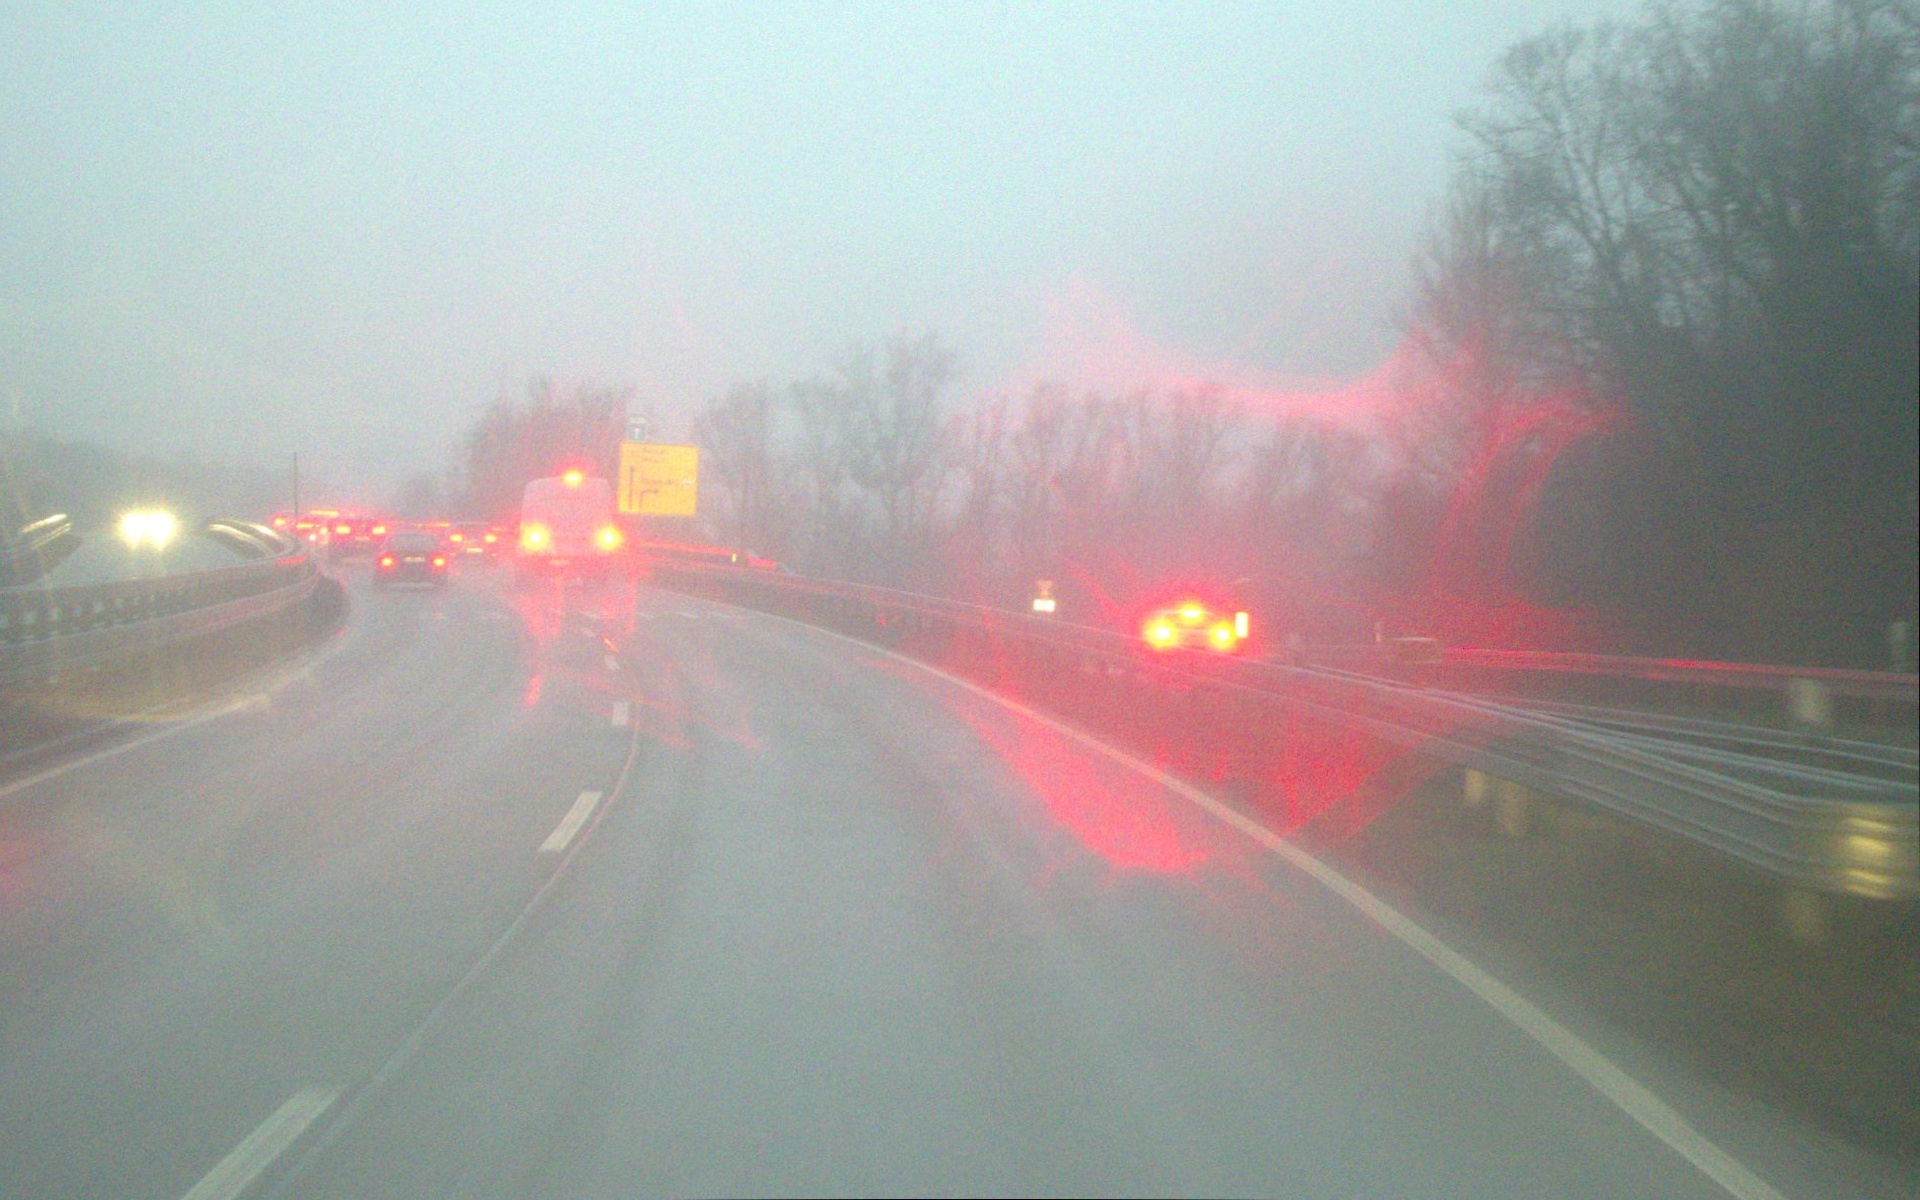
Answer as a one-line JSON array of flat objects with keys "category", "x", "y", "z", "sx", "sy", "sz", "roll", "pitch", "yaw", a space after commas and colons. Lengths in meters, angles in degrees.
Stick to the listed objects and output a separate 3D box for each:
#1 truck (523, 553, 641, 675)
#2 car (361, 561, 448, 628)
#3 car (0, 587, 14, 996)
[{"category": "truck", "x": -9.521, "y": 0.396, "z": 86.273, "sx": 2.382, "sy": 2.899, "sz": 4.675, "roll": 1, "pitch": -2, "yaw": -13}, {"category": "car", "x": -13.801, "y": -0.115, "z": 85.284, "sx": 1.834, "sy": 1.532, "sz": 4.001, "roll": 2, "pitch": -1, "yaw": -13}, {"category": "car", "x": -3.999, "y": 0.662, "z": 9.762, "sx": 1.625, "sy": 1.387, "sz": 4.000, "roll": 1, "pitch": 1, "yaw": -2}]
